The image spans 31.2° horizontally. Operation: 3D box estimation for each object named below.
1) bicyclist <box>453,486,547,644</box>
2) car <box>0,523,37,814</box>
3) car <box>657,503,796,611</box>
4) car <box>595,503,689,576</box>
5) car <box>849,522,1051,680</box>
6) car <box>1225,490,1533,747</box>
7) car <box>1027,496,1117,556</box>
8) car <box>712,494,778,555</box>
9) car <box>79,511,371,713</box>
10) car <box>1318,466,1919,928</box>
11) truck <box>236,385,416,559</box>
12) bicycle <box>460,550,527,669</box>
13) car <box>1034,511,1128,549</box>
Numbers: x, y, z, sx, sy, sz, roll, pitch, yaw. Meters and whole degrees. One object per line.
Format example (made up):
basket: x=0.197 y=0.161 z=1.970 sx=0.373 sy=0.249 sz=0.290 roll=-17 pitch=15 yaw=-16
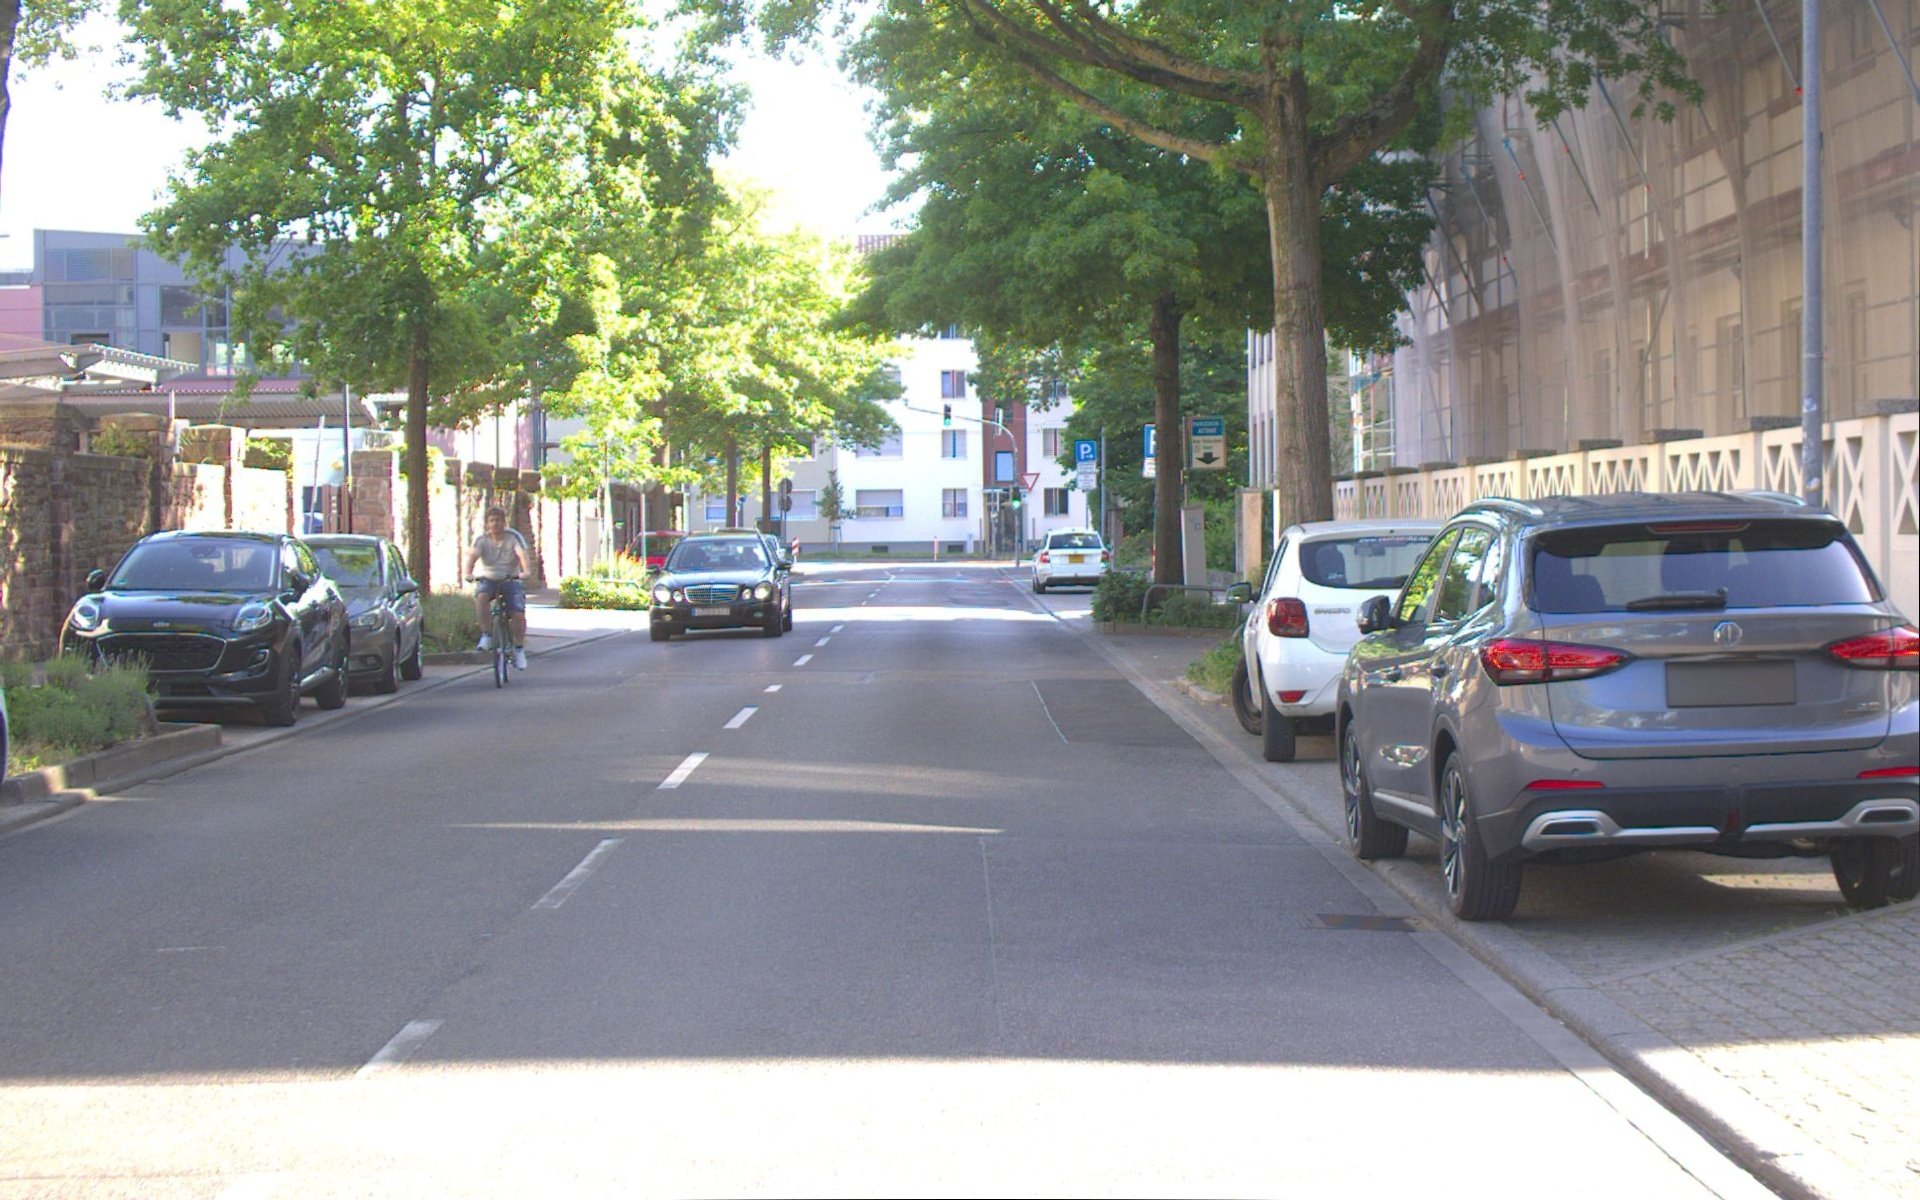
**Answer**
bicyclist: x=-4.512 y=-0.349 z=33.762 sx=0.721 sy=1.517 sz=1.005 roll=1 pitch=1 yaw=3
car: x=-5.829 y=0.373 z=16.550 sx=1.676 sy=1.506 sz=3.850 roll=2 pitch=2 yaw=0
car: x=-3.247 y=-0.634 z=48.393 sx=1.821 sy=1.431 sz=3.970 roll=0 pitch=2 yaw=-2
car: x=-6.637 y=-1.283 z=72.010 sx=1.609 sy=1.454 sz=3.708 roll=1 pitch=2 yaw=0
car: x=-0.151 y=-0.029 z=33.789 sx=1.686 sy=1.417 sz=3.840 roll=1 pitch=2 yaw=-4
car: x=2.734 y=0.054 z=23.162 sx=1.724 sy=1.505 sz=3.992 roll=-2 pitch=2 yaw=3
car: x=2.556 y=-1.728 z=79.525 sx=1.832 sy=1.318 sz=4.497 roll=-1 pitch=2 yaw=-1
car: x=-6.098 y=-2.157 z=97.803 sx=1.720 sy=1.678 sz=4.351 roll=-1 pitch=2 yaw=-2
car: x=-5.924 y=0.038 z=28.106 sx=1.573 sy=1.509 sz=4.045 roll=0 pitch=2 yaw=-1
car: x=2.670 y=0.279 z=14.475 sx=1.712 sy=1.632 sz=4.303 roll=-1 pitch=2 yaw=-2
truck: x=-14.250 y=-2.868 z=77.799 sx=2.732 sy=3.698 sz=7.429 roll=1 pitch=2 yaw=-1
bicycle: x=-4.581 y=0.077 z=33.806 sx=0.357 sy=1.116 sz=1.866 roll=1 pitch=2 yaw=1
car: x=4.877 y=-2.837 z=138.823 sx=3.415 sy=1.438 sz=1.642 roll=2 pitch=2 yaw=25
